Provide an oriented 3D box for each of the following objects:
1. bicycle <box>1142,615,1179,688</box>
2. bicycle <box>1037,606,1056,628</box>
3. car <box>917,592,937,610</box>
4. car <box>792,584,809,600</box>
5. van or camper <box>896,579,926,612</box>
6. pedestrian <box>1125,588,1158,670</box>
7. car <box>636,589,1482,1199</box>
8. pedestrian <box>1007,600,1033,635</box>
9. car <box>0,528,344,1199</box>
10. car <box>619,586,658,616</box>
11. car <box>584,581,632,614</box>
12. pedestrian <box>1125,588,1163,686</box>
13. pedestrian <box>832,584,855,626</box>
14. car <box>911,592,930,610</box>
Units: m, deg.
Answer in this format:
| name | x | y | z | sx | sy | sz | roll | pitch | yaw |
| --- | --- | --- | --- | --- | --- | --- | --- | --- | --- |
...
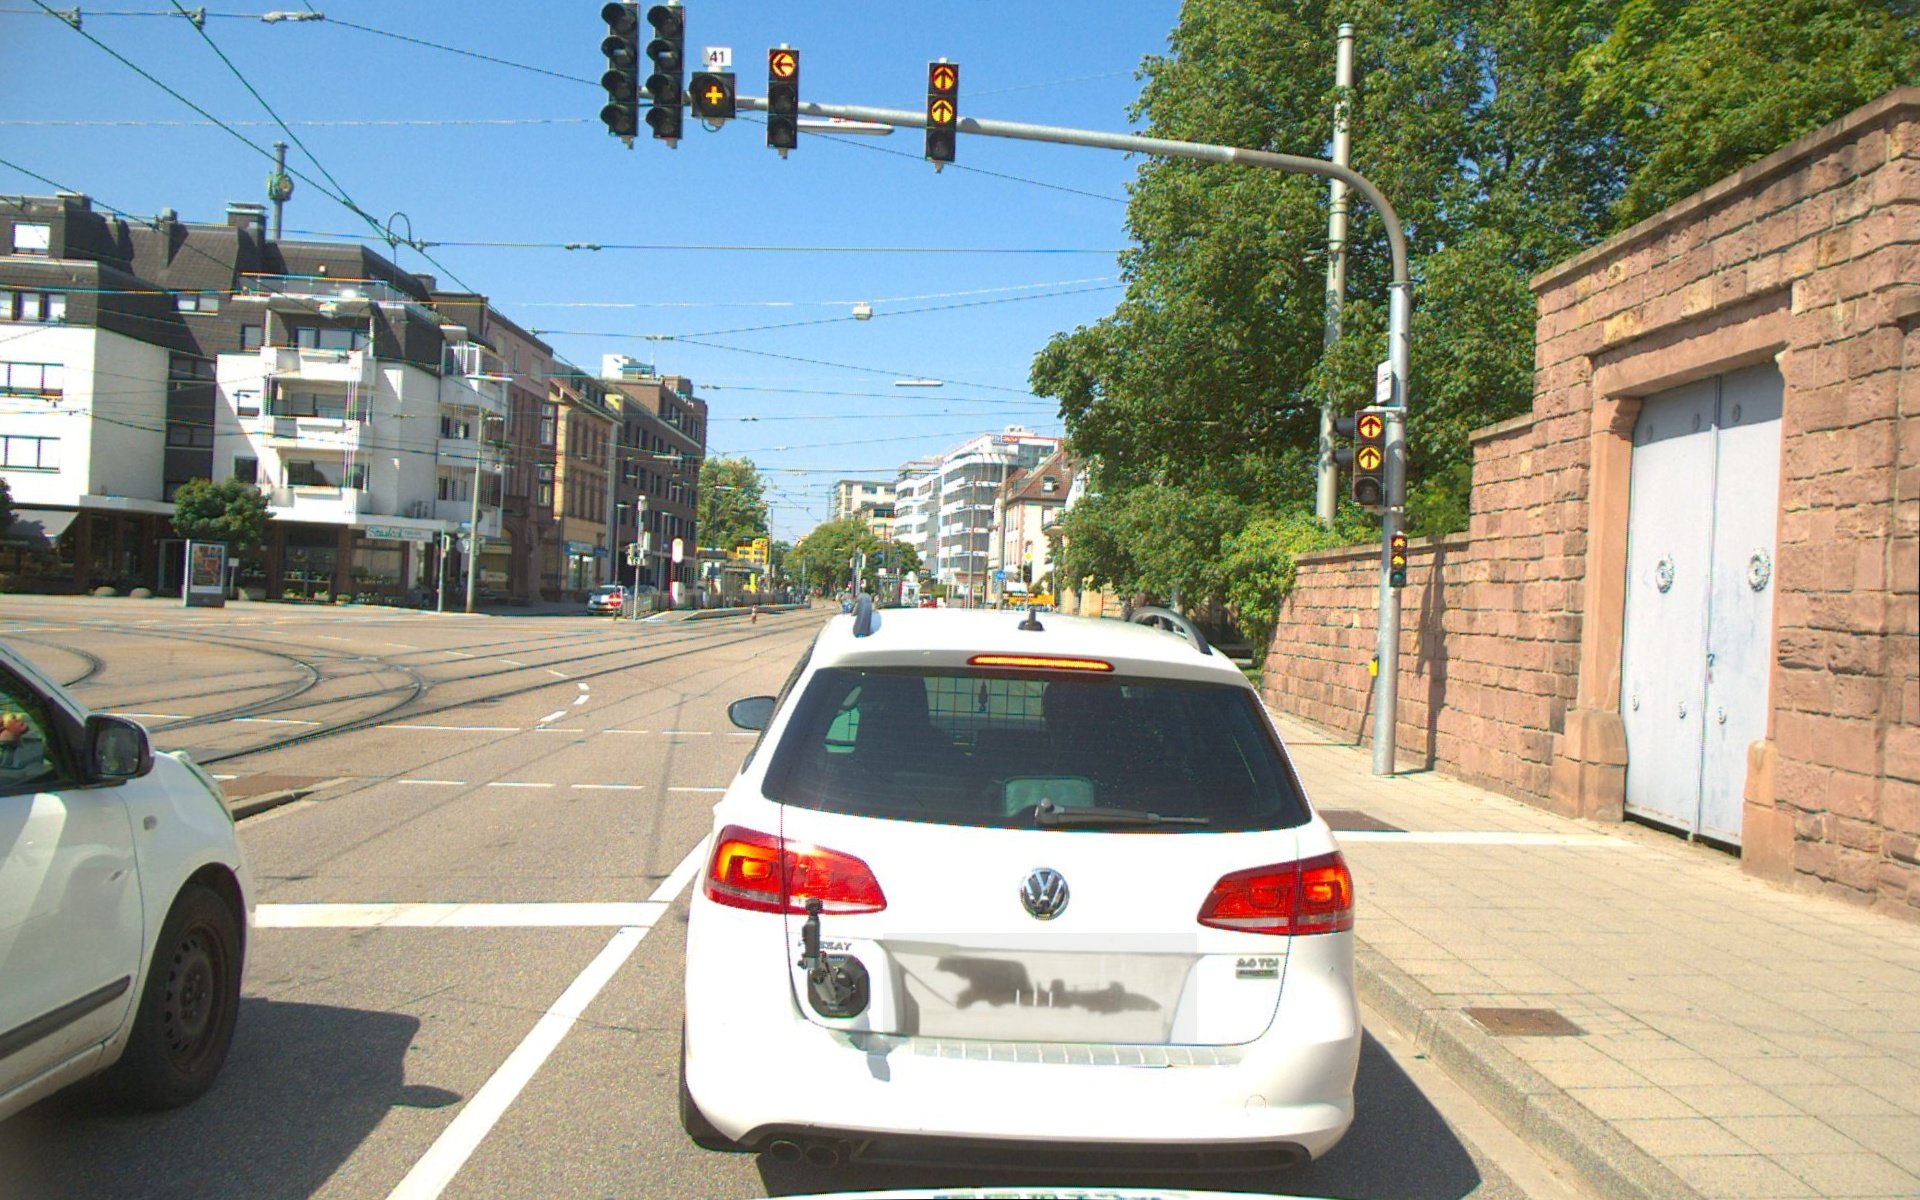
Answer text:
| name | x | y | z | sx | sy | sz | roll | pitch | yaw |
| --- | --- | --- | --- | --- | --- | --- | --- | --- | --- |
| bicycle | 3.258 | 0.813 | 26.768 | 0.524 | 1.131 | 1.808 | 1 | -1 | 8 |
| bicycle | 4.733 | 0.921 | 90.314 | 0.710 | 1.159 | 2.196 | 2 | 0 | 11 |
| car | -3.811 | 0.093 | 192.346 | 1.955 | 2.049 | 3.995 | 2 | 0 | -6 |
| car | -20.937 | -1.047 | 217.233 | 1.954 | 2.049 | 3.998 | 1 | 0 | -3 |
| van or camper | -5.159 | -0.457 | 173.085 | 2.886 | 3.235 | 6.608 | 2 | 0 | -4 |
| pedestrian | 3.862 | 0.612 | 35.264 | 0.636 | 1.711 | 0.708 | 2 | 0 | 6 |
| car | 0.182 | 0.730 | 5.366 | 1.717 | 1.442 | 3.852 | 2 | 0 | -1 |
| pedestrian | 2.688 | 0.797 | 74.048 | 0.842 | 1.536 | 0.778 | 2 | 0 | 39 |
| car | -2.894 | 0.627 | 3.433 | 1.730 | 1.588 | 4.066 | 1 | 0 | -1 |
| car | -17.058 | 0.045 | 87.850 | 1.542 | 1.484 | 3.811 | 2 | 0 | -4 |
| car | -17.023 | -0.099 | 80.098 | 1.593 | 1.456 | 3.961 | 4 | 0 | -3 |
| pedestrian | 2.990 | 0.589 | 26.852 | 0.529 | 1.576 | 0.663 | 0 | 0 | -2 |
| pedestrian | -5.170 | 0.229 | 73.337 | 0.812 | 1.841 | 0.831 | 2 | 0 | -13 |
| car | -4.695 | 0.063 | 197.737 | 1.955 | 2.049 | 3.995 | 2 | 0 | -6 |
